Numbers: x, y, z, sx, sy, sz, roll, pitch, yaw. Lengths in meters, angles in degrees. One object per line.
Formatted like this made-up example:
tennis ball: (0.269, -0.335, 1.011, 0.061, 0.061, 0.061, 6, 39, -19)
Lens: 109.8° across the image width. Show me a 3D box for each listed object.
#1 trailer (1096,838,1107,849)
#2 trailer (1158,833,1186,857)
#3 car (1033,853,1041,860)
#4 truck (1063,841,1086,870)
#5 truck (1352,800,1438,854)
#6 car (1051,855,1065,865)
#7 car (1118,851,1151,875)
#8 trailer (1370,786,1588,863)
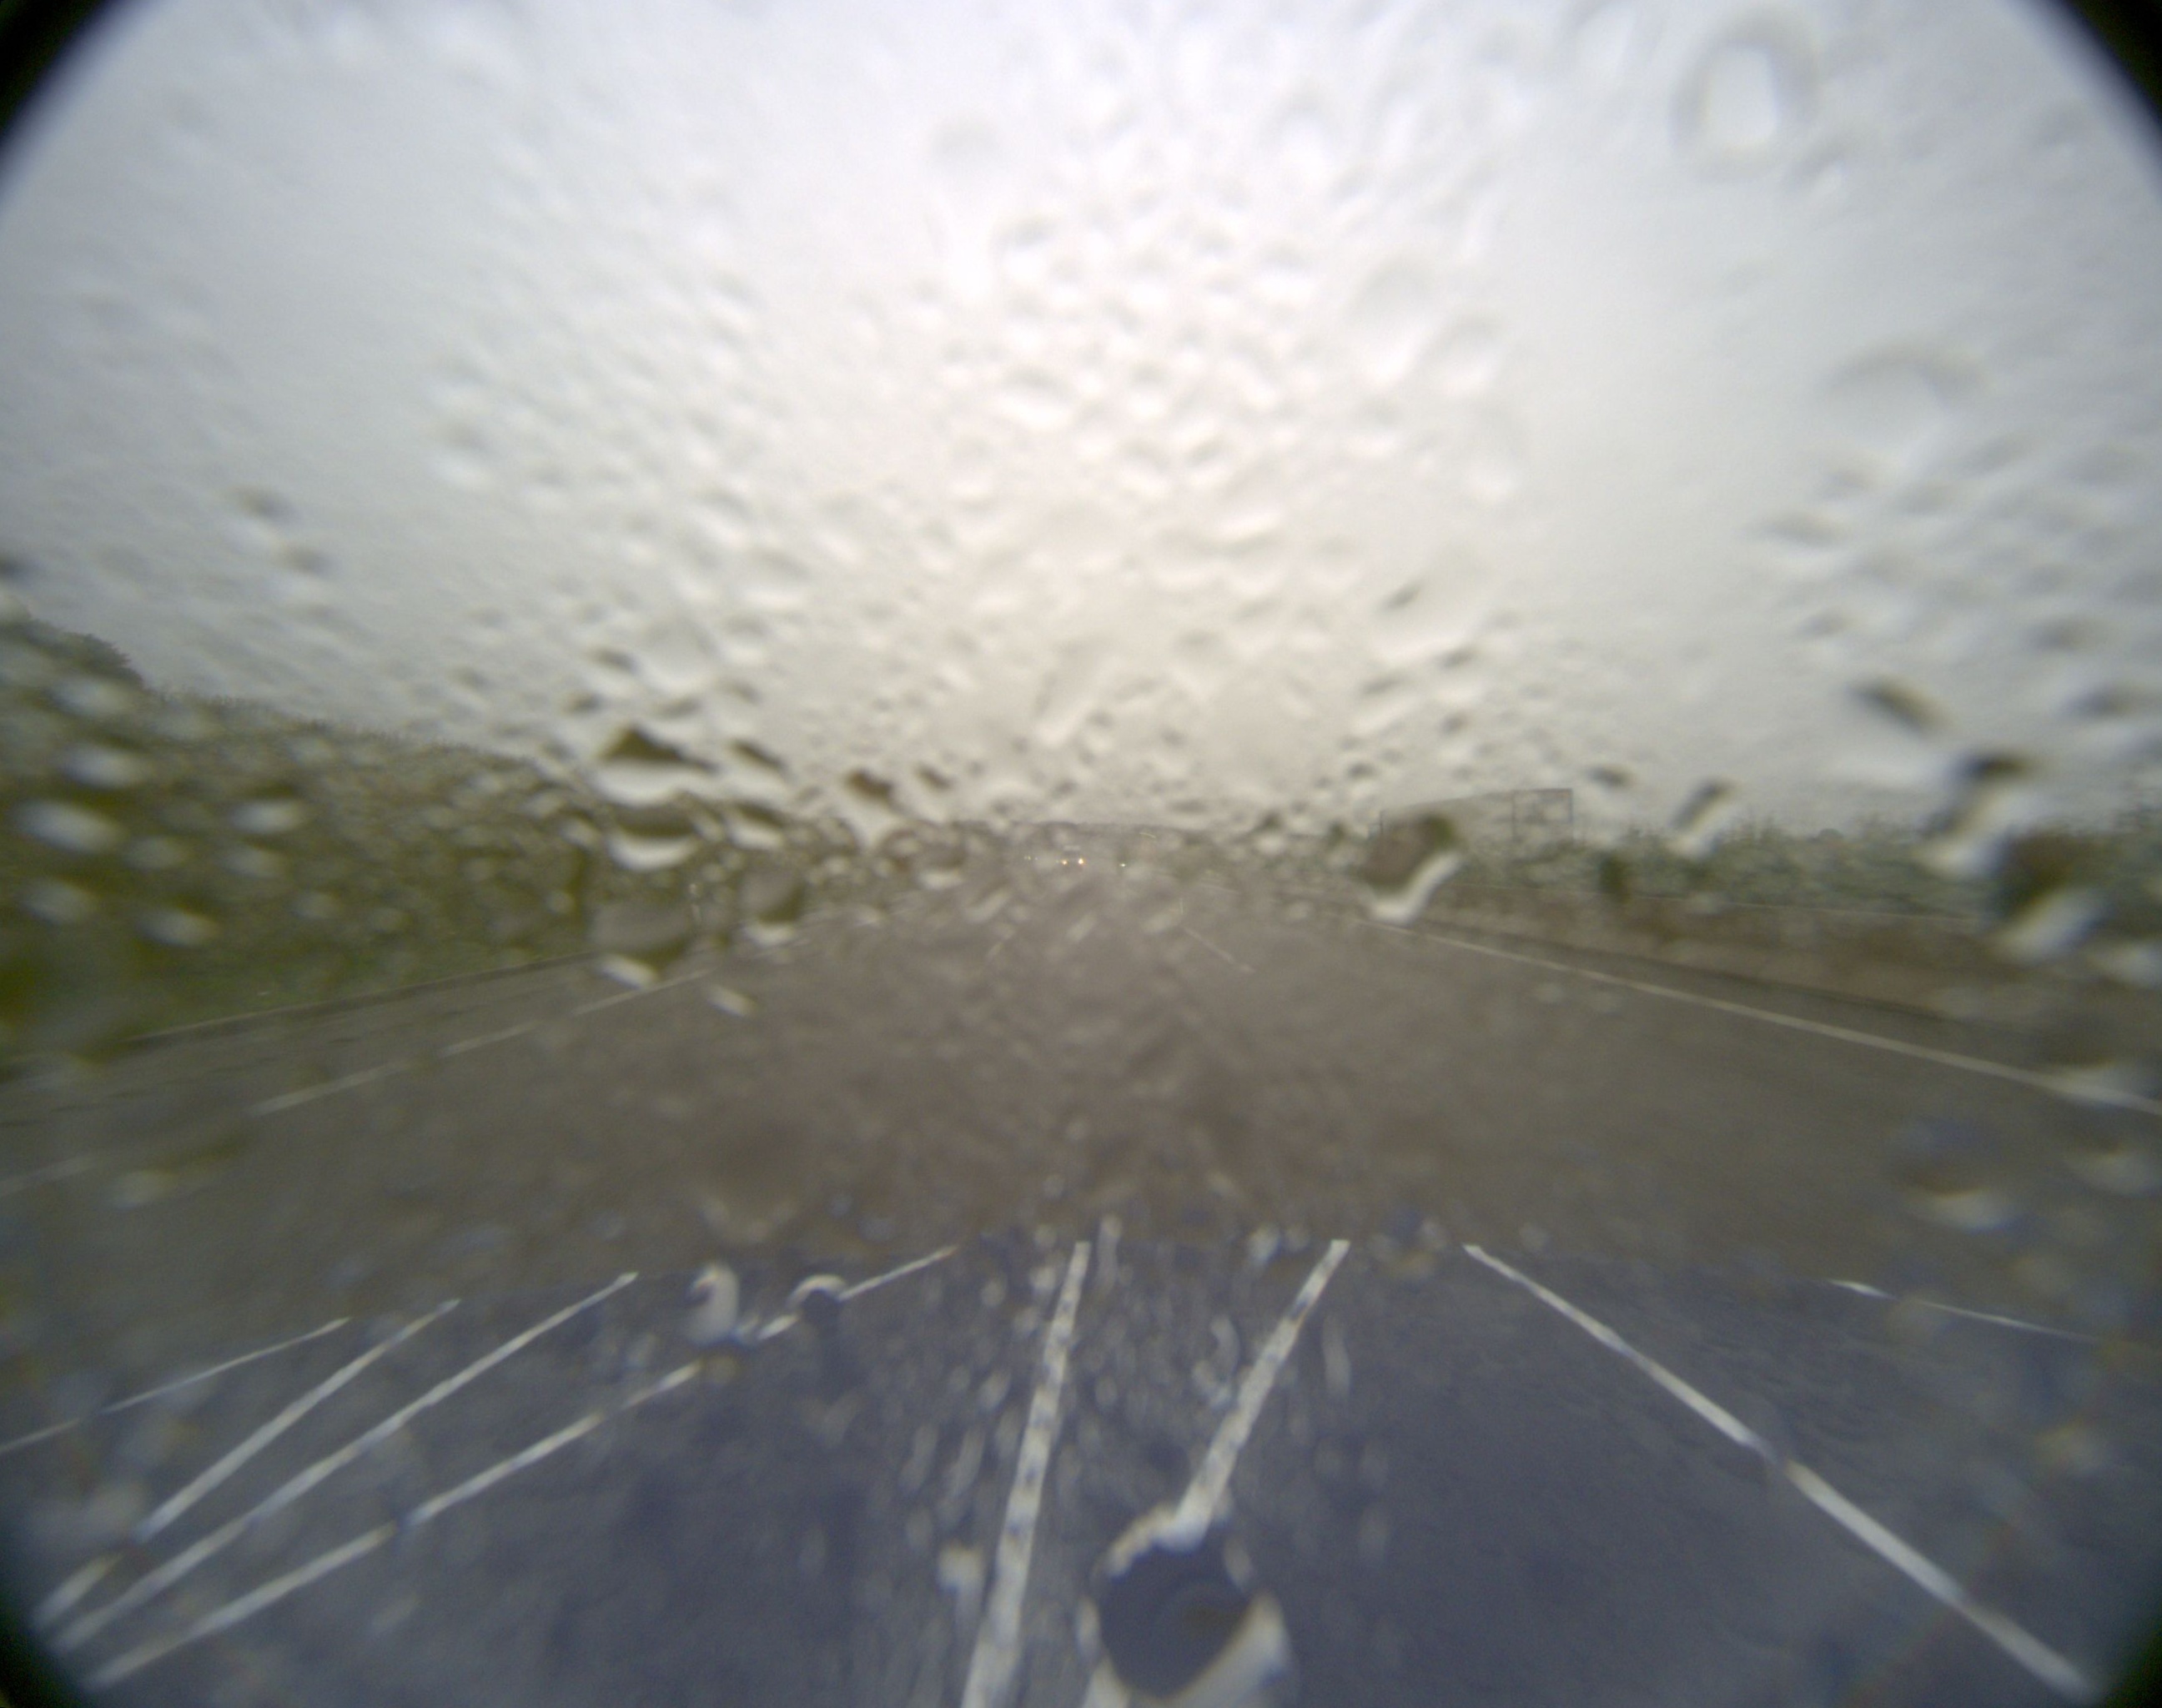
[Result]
trailer: (6.779, -3.575, 251.026, 2.771, 3.600, 11.143, -2, 2, -2)
trailer: (16.498, -1.610, 138.928, 2.952, 3.959, 14.302, -2, 0, -1)
car: (-11.479, 0.674, 197.243, 1.999, 1.543, 3.999, -2, 0, -2)
truck: (-0.743, 0.085, 78.461, 1.999, 2.699, 7.996, -2, 2, -2)
truck: (19.637, -1.664, 47.924, 3.000, 3.106, 5.594, -2, 2, -1)
car: (-3.823, 0.947, 126.726, 1.999, 1.521, 3.998, -1, 0, -5)
car: (3.845, 0.632, 54.847, 1.999, 1.608, 3.999, -1, 0, -1)
trailer: (19.732, -1.445, 39.796, 2.995, 3.126, 15.714, -2, 2, -1)
